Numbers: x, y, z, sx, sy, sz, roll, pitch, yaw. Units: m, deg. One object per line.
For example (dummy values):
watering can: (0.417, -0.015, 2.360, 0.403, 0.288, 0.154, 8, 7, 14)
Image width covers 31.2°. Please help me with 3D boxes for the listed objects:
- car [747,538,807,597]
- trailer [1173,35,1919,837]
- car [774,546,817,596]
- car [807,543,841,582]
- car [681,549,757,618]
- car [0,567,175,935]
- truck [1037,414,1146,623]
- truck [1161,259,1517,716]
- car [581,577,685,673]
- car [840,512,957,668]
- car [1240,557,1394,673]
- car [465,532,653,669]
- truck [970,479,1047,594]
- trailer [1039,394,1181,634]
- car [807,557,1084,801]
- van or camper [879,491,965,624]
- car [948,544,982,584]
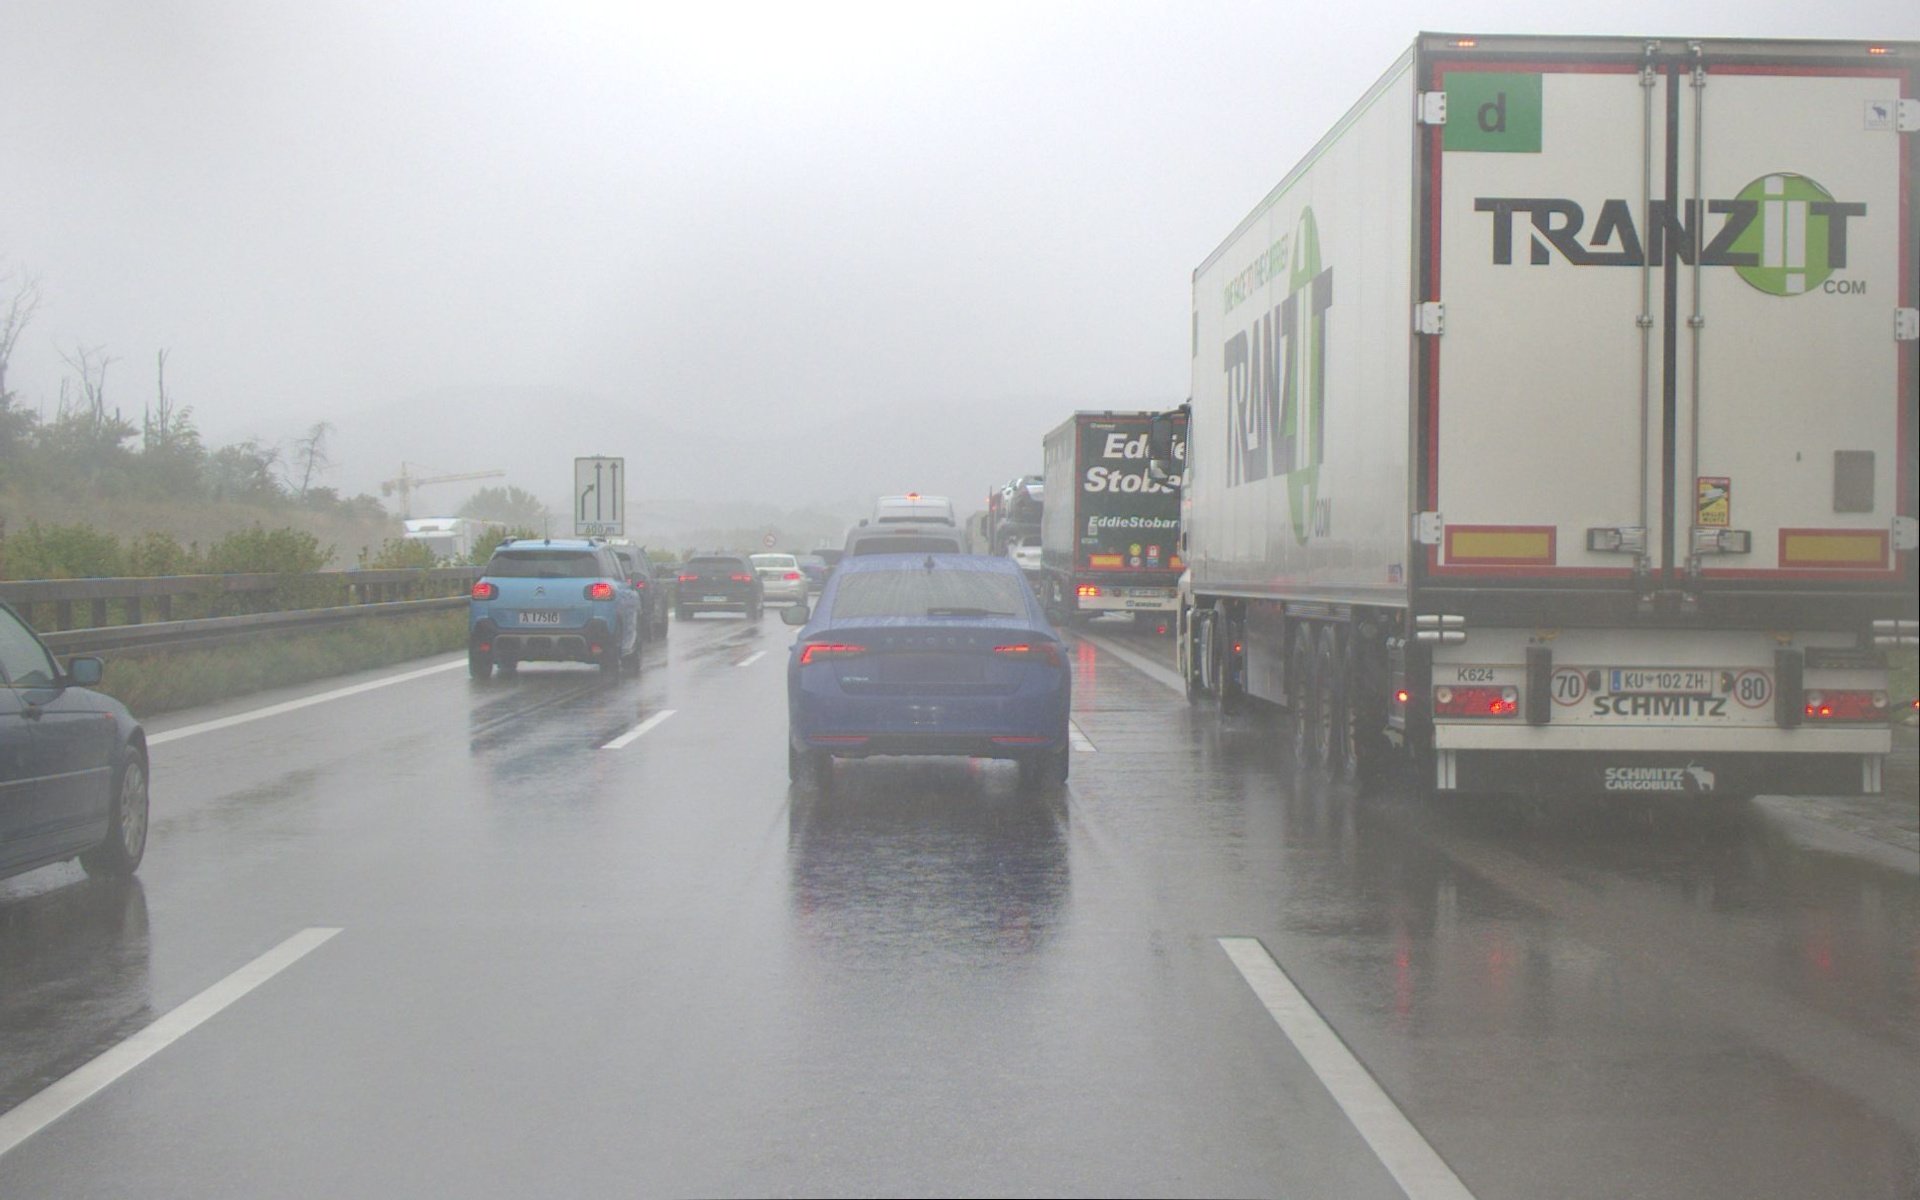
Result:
car: (-4.856, -0.877, 91.461, 1.439, 1.528, 3.322, 0, 1, -1)
trailer: (3.386, -0.952, 24.507, 2.630, 3.999, 14.630, 0, 1, -1)
car: (-6.018, -1.076, 126.178, 1.448, 1.777, 3.409, 1, 1, -1)
car: (-6.296, -1.749, 159.280, 1.448, 1.777, 3.409, 1, 1, -1)
car: (-5.151, -0.370, 73.719, 1.439, 1.415, 3.322, 0, 1, -1)
car: (-4.516, 0.572, 13.792, 1.718, 1.395, 4.230, 0, 1, 1)
truck: (2.690, -1.673, 71.083, 2.047, 4.178, 4.000, 0, 1, -1)
truck: (3.311, -0.982, 31.176, 2.630, 3.814, 4.791, 0, 1, -1)
car: (-5.166, 0.371, 54.638, 1.359, 1.426, 3.364, 0, 1, -1)
car: (-0.725, -0.144, 40.950, 1.336, 1.774, 3.322, 0, 1, -1)
car: (4.206, 0.150, 40.896, 1.423, 1.284, 3.461, 0, 1, -1)
car: (-4.654, -0.020, 40.362, 1.721, 1.518, 4.000, 0, 1, 0)
truck: (1.455, -1.994, 106.671, 1.993, 3.410, 8.033, 0, 1, -2)
trailer: (2.736, -1.595, 65.426, 2.047, 4.162, 11.449, 0, 1, -1)
car: (-0.084, 0.444, 22.403, 1.635, 1.440, 4.000, 0, 1, 0)
van or camper: (-0.824, -0.943, 74.853, 1.797, 2.797, 4.768, 0, 1, -1)
car: (0.216, -1.634, 155.244, 1.448, 1.777, 3.409, 1, 1, -1)
